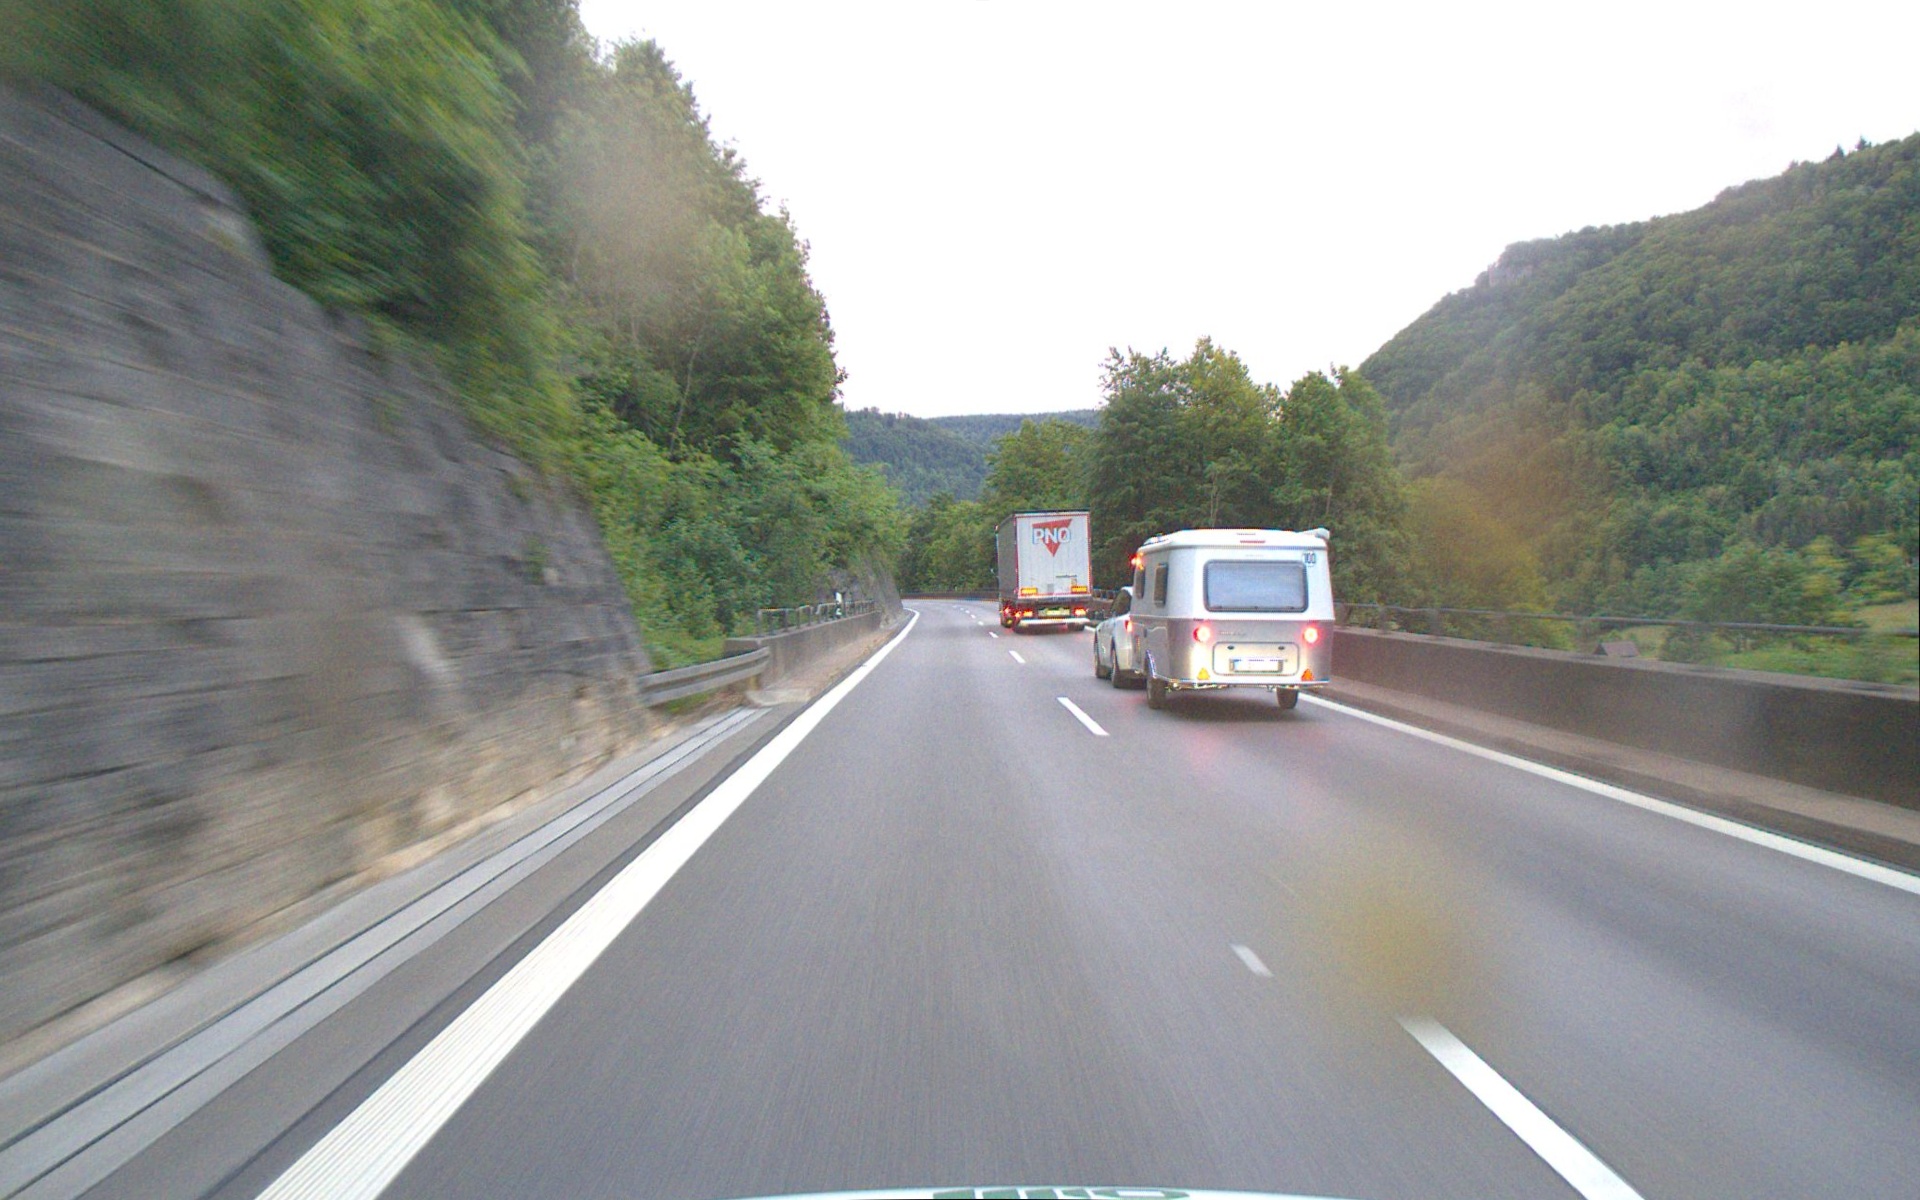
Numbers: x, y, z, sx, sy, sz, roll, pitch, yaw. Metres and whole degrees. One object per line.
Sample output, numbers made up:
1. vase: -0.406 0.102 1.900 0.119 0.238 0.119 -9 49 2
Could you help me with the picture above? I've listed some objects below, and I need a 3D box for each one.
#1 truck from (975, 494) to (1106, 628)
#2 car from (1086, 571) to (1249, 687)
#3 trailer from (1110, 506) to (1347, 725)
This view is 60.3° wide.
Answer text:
1. truck: 2.681 -1.270 61.763 3.229 4.245 16.494 -2 0 -2
2. car: 3.341 0.435 27.543 1.953 1.642 4.864 -4 0 -1
3. trailer: 3.401 0.156 22.234 2.013 2.416 5.937 -4 0 -1
